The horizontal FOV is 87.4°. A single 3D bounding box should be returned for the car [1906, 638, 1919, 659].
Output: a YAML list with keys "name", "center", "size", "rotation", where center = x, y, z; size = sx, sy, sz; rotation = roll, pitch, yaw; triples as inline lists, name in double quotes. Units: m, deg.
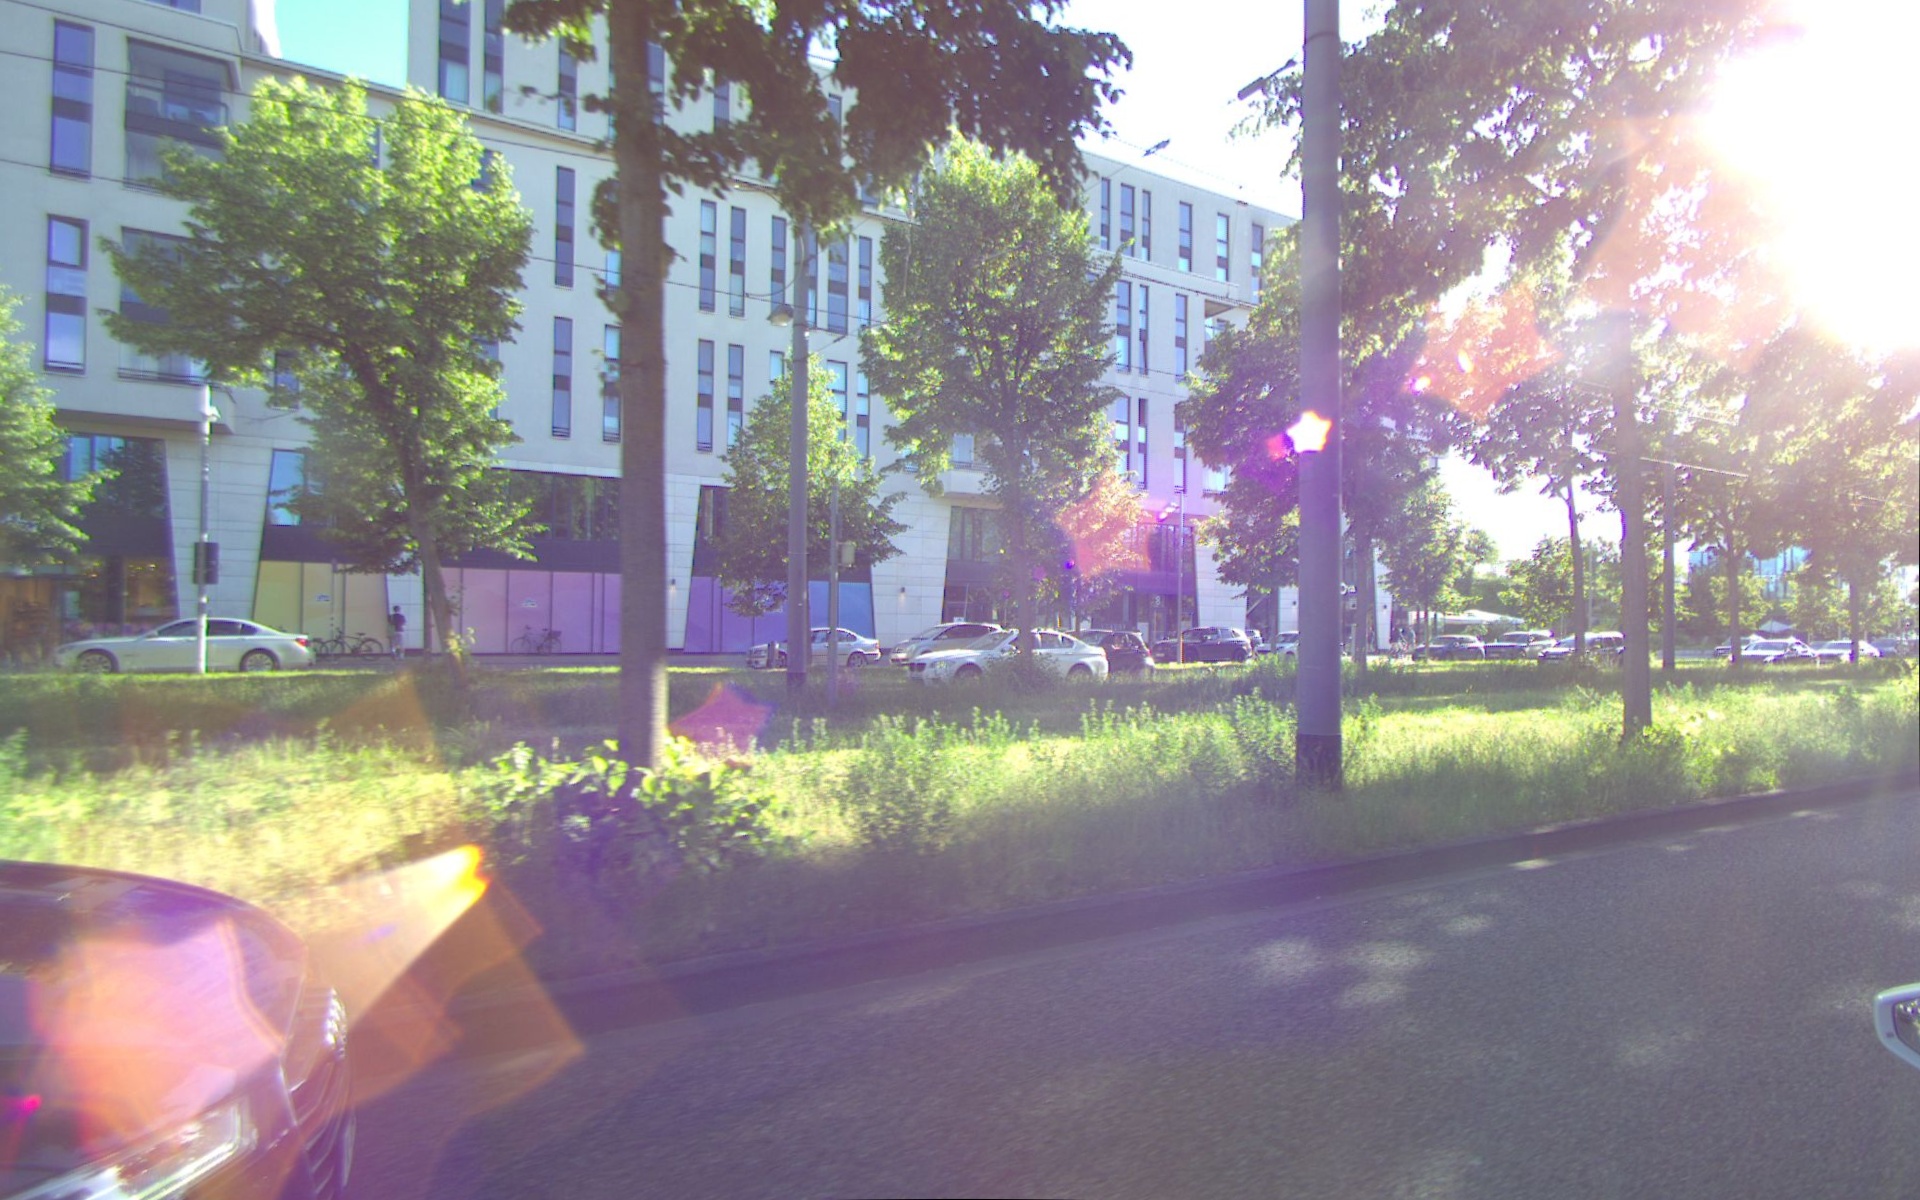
- name: "car"
  center: [81.195, 4.102, 83.826]
  size: [4.555, 1.630, 1.985]
  rotation: [2, 0, -29]

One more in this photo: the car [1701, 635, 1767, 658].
- name: "car"
  center: [50.937, 3.067, 66.068]
  size: [4.557, 1.453, 1.870]
  rotation: [2, -1, -30]

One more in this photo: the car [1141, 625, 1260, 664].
- name: "car"
  center: [10.041, 1.869, 41.813]
  size: [4.883, 1.460, 1.982]
  rotation: [2, 0, -33]

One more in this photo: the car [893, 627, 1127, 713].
- name: "car"
  center: [1.195, 1.554, 22.948]
  size: [5.052, 1.708, 1.983]
  rotation: [2, 0, -31]

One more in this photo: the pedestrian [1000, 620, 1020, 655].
- name: "pedestrian"
  center: [2.427, 1.809, 48.771]
  size: [0.713, 1.673, 0.631]
  rotation: [2, 0, -37]

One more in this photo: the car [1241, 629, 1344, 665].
- name: "car"
  center: [14.757, 2.085, 44.568]
  size: [4.408, 1.460, 1.982]
  rotation: [2, 0, -33]

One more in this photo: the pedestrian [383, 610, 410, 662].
- name: "pedestrian"
  center: [-18.522, 1.186, 33.012]
  size: [0.712, 1.673, 0.632]
  rotation: [2, 0, -32]

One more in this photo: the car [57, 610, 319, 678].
- name: "car"
  center: [-18.602, 1.082, 24.574]
  size: [4.872, 1.460, 1.982]
  rotation: [2, 0, -33]

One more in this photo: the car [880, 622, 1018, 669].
- name: "car"
  center: [-0.358, 1.591, 35.094]
  size: [4.404, 1.460, 1.984]
  rotation: [2, 0, -31]

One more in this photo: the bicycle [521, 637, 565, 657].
- name: "bicycle"
  center: [-15.776, 1.782, 37.993]
  size: [1.498, 0.741, 0.276]
  rotation: [2, 0, -29]

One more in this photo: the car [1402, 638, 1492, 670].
- name: "car"
  center: [24.097, 2.673, 49.673]
  size: [4.215, 1.460, 1.949]
  rotation: [2, 0, -30]

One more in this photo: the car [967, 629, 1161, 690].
- name: "car"
  center: [2.871, 1.603, 27.346]
  size: [5.050, 1.460, 1.984]
  rotation: [2, 0, -30]

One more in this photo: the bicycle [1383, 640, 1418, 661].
- name: "bicycle"
  center: [26.035, 2.974, 59.322]
  size: [2.215, 1.214, 0.729]
  rotation: [2, 0, -31]

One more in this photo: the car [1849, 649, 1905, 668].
- name: "car"
  center: [71.769, 4.607, 78.584]
  size: [4.555, 1.343, 1.904]
  rotation: [2, 0, -29]

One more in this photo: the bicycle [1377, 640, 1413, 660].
- name: "bicycle"
  center: [22.314, 2.566, 51.533]
  size: [2.163, 1.014, 0.494]
  rotation: [2, 0, -31]

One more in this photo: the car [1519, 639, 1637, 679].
- name: "car"
  center: [25.121, 2.409, 40.791]
  size: [4.644, 1.460, 1.986]
  rotation: [2, 0, -28]

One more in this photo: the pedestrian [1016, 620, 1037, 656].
- name: "pedestrian"
  center: [3.196, 1.837, 48.291]
  size: [0.712, 1.673, 0.632]
  rotation: [2, 0, -32]

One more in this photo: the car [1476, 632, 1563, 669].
- name: "car"
  center: [29.612, 2.687, 53.122]
  size: [4.725, 1.795, 1.982]
  rotation: [2, 0, -33]

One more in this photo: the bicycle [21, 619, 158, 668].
- name: "bicycle"
  center: [-24.640, 1.228, 28.504]
  size: [2.732, 1.298, 0.944]
  rotation: [2, 0, -23]

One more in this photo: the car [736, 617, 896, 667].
- name: "car"
  center: [-4.648, 1.372, 32.612]
  size: [4.728, 1.460, 1.982]
  rotation: [2, 0, -33]

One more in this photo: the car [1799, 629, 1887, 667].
- name: "car"
  center: [46.505, 2.516, 52.889]
  size: [5.188, 1.865, 1.984]
  rotation: [2, -1, -30]

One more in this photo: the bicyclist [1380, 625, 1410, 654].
- name: "bicyclist"
  center: [22.314, 2.042, 51.510]
  size: [1.641, 1.424, 0.486]
  rotation: [2, 0, -31]

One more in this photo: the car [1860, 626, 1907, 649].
- name: "car"
  center: [89.847, 3.626, 97.691]
  size: [4.508, 2.040, 1.984]
  rotation: [2, 0, -29]

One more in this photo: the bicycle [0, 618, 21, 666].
- name: "bicycle"
  center: [-27.824, 1.119, 27.597]
  size: [2.732, 1.298, 0.944]
  rotation: [2, 0, -23]

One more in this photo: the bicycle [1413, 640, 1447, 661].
- name: "bicycle"
  center: [28.372, 3.070, 60.664]
  size: [2.215, 1.214, 0.729]
  rotation: [2, 0, -31]

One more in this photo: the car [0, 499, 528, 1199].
- name: "car"
  center: [-3.203, 0.631, 0.814]
  size: [5.028, 1.500, 1.942]
  rotation: [1, -1, -32]

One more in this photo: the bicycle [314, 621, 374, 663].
- name: "bicycle"
  center: [-19.735, 1.356, 32.220]
  size: [1.591, 1.298, 0.594]
  rotation: [2, 0, -32]
